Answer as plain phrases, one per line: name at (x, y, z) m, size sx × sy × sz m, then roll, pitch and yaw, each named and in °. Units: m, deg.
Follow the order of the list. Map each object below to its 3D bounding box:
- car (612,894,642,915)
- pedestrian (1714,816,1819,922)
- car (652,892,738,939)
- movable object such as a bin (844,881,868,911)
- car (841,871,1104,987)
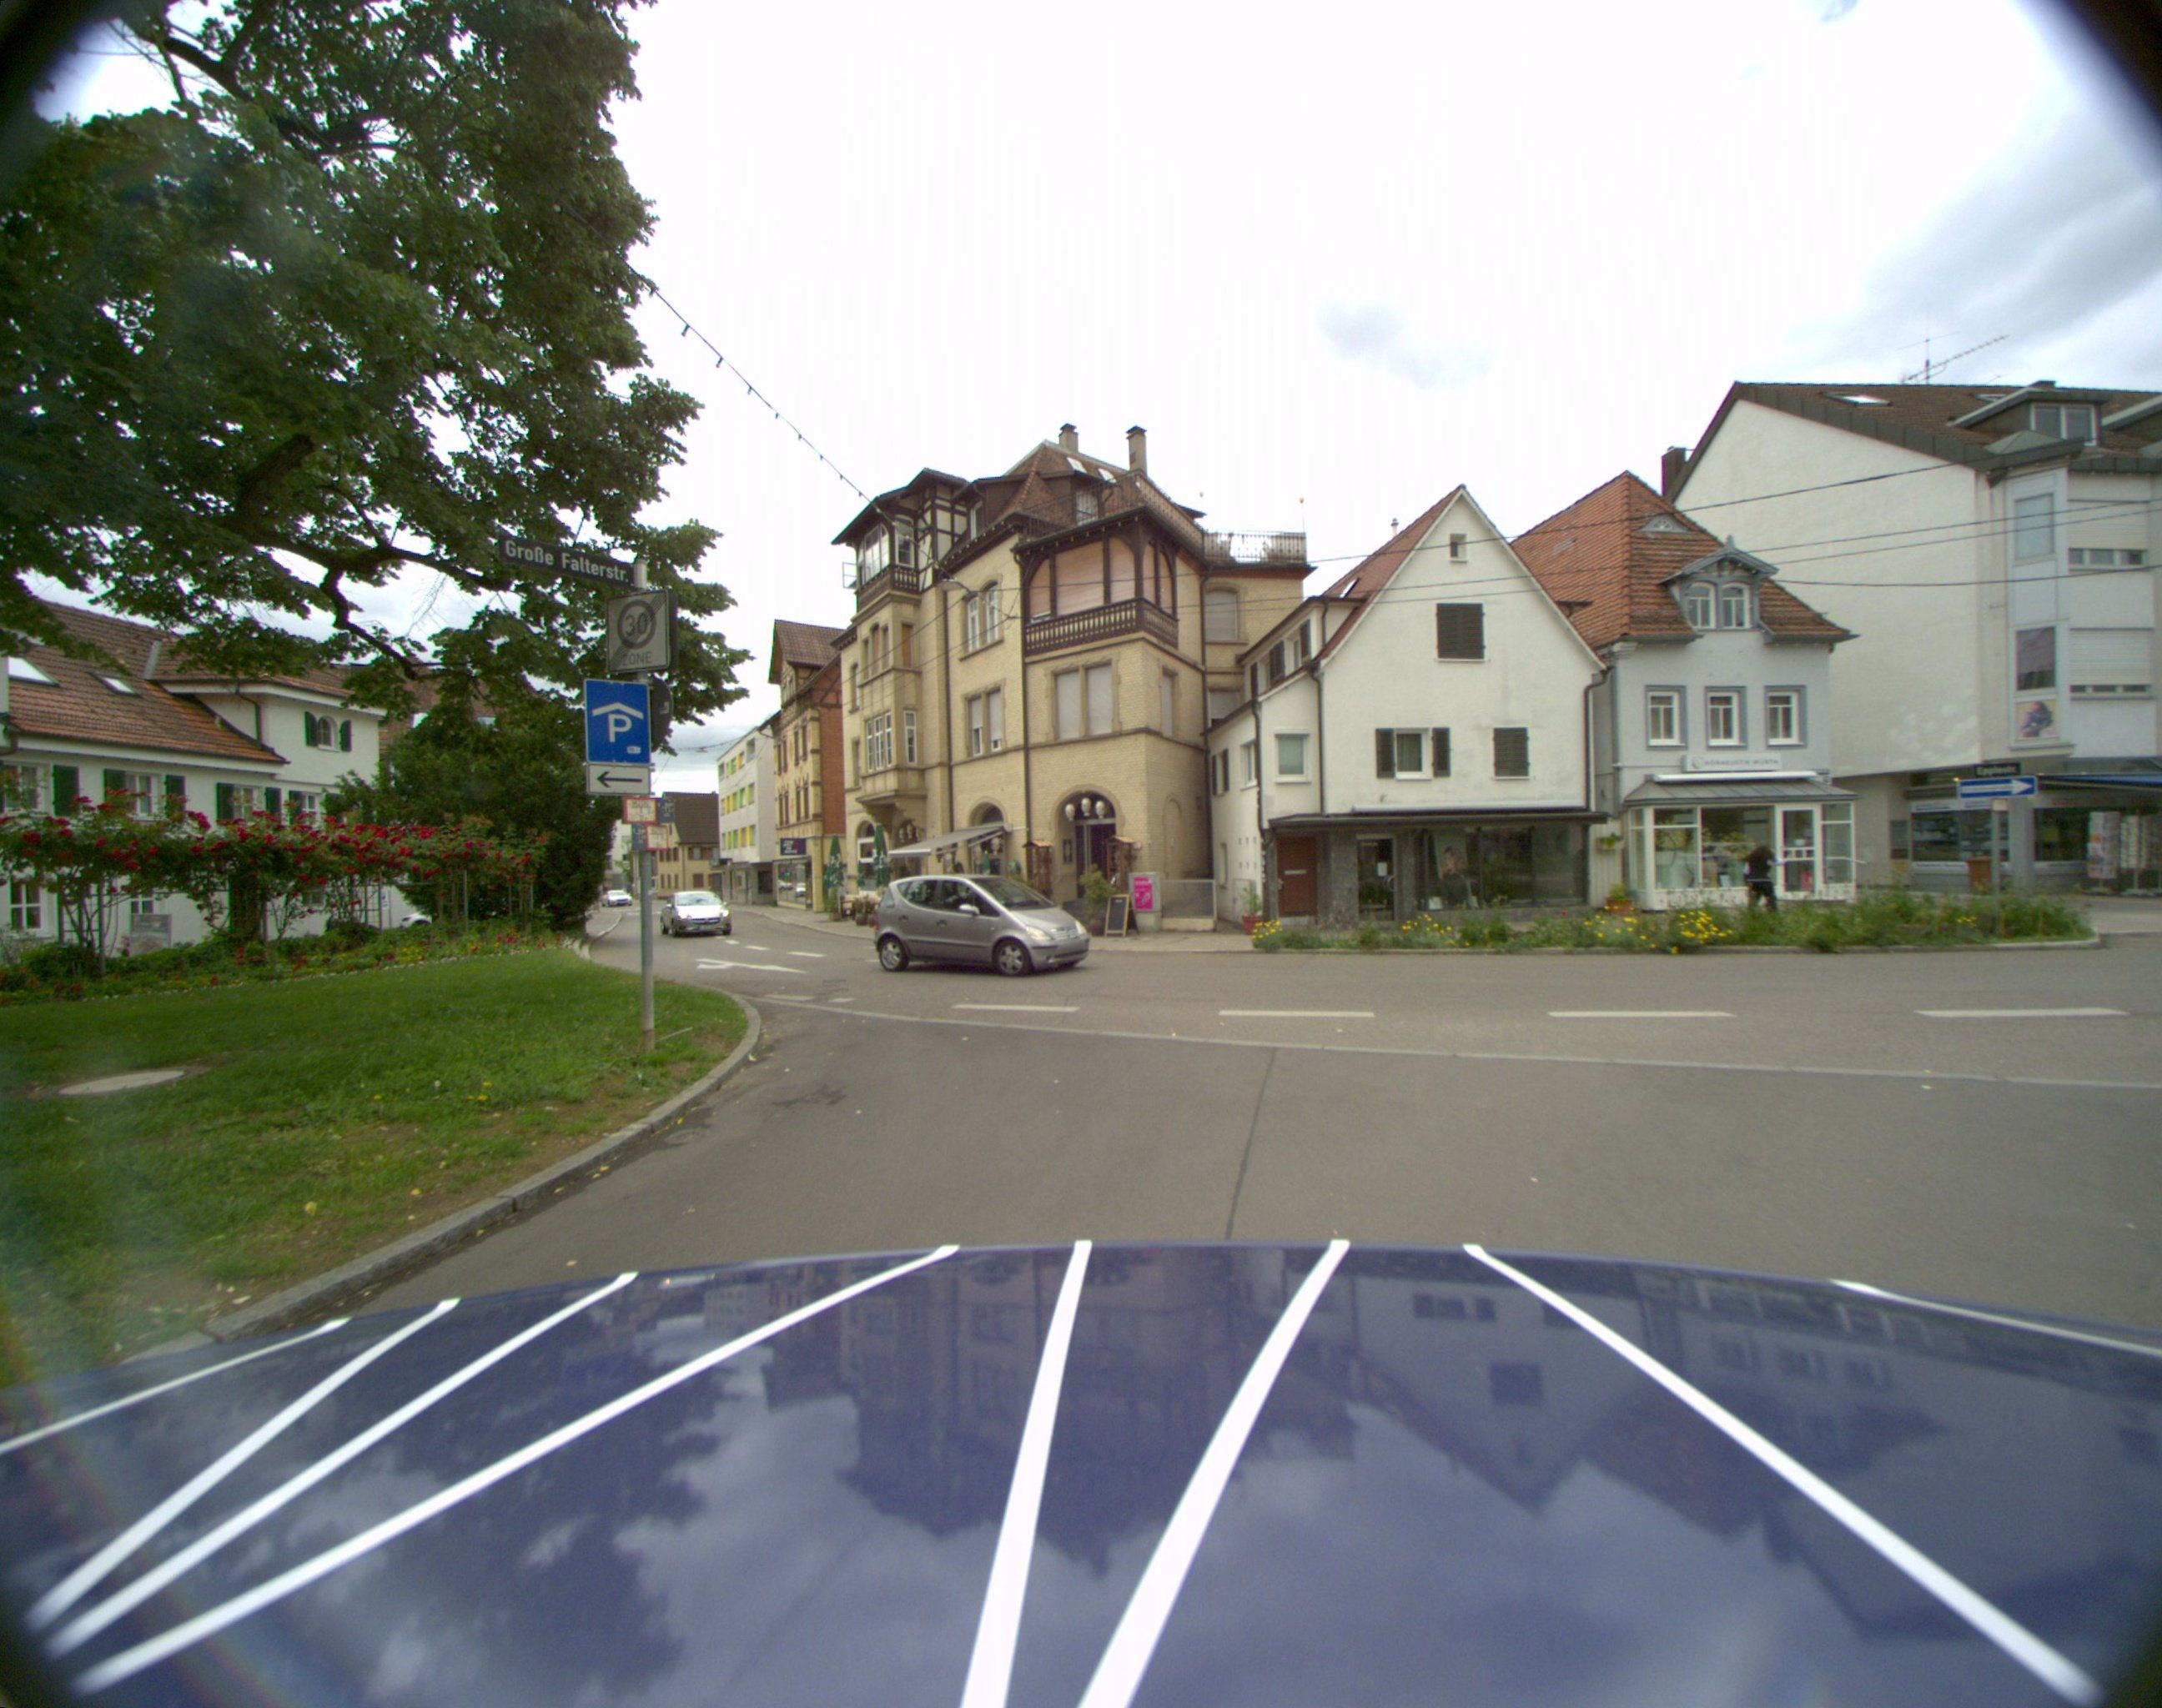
car at (-41.917, 4.608, 70.056) m, size 2.005 × 1.618 × 3.990 m, roll -3°, pitch 1°, yaw -35°
pedestrian at (13.726, 0.293, 15.243) m, size 1.014 × 2.001 × 1.105 m, roll -3°, pitch 0°, yaw -7°
car at (-12.914, 1.990, 25.292) m, size 1.759 × 1.347 × 3.990 m, roll -2°, pitch -1°, yaw -38°
movable object such as a bin at (-11.535, 2.143, 38.938) m, size 0.946 × 1.371 × 0.821 m, roll -5°, pitch 4°, yaw -30°
car at (-1.839, 1.155, 12.610) m, size 3.990 × 1.617 × 1.900 m, roll -2°, pitch -2°, yaw 31°
